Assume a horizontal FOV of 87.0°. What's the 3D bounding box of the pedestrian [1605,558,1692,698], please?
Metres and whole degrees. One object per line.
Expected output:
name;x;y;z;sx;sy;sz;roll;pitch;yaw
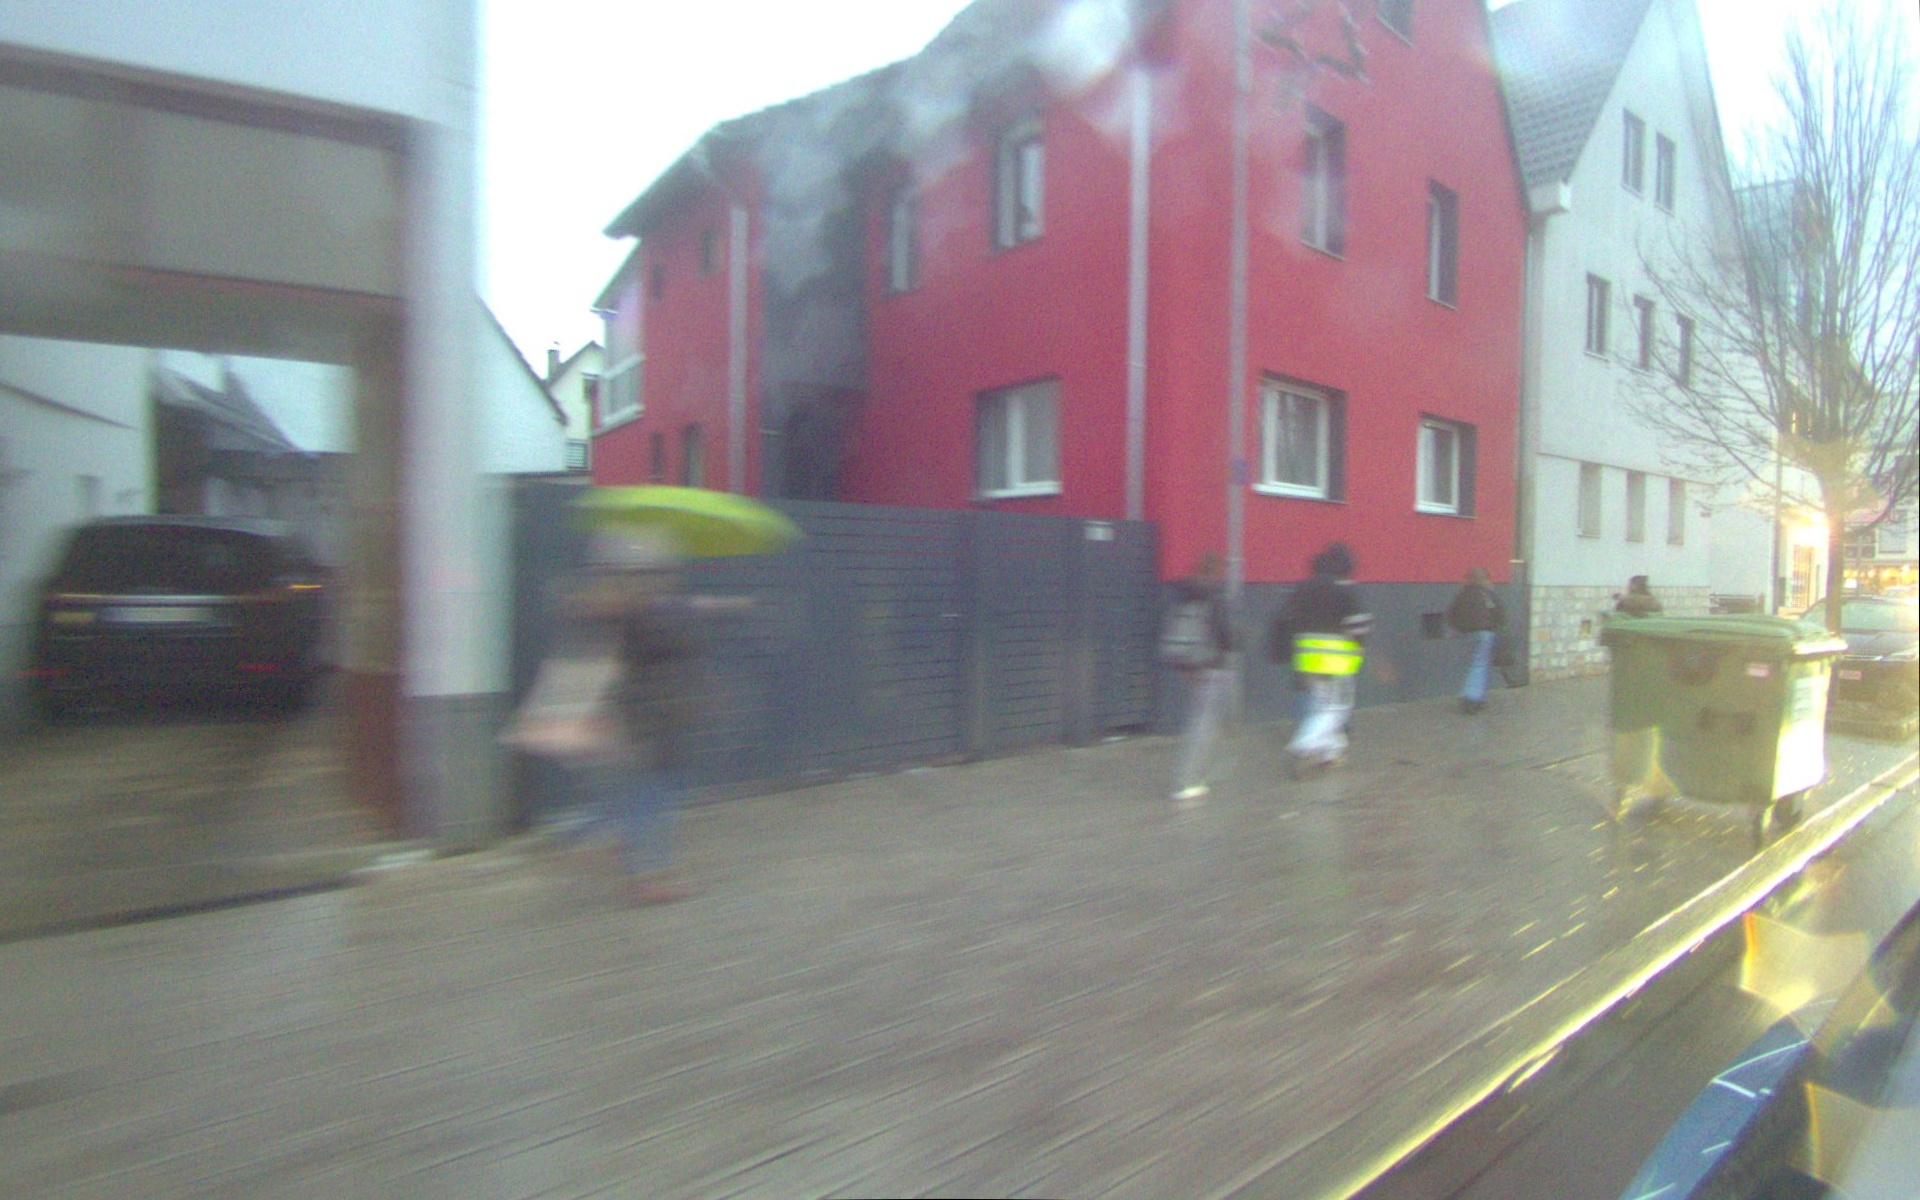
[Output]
pedestrian;8.652;0.326;12.709;0.935;1.673;0.531;-3;1;-31

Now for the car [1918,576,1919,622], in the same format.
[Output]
car;36.826;0.017;37.138;1.814;1.767;3.952;-1;2;34

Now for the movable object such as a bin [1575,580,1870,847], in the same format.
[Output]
movable object such as a bin;4.954;0.640;6.581;1.391;1.437;1.132;1;4;-38

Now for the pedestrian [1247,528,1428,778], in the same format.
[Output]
pedestrian;2.820;0.361;7.577;1.013;1.736;0.716;1;2;-27

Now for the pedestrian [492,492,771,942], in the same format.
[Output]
pedestrian;-1.354;0.425;4.248;0.616;1.647;0.894;1;0;36

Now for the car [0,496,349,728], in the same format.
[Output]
car;-6.828;0.021;9.195;1.850;1.613;4.007;1;2;-27

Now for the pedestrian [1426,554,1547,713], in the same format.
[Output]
pedestrian;5.942;0.349;11.421;1.032;1.699;0.750;1;2;-34

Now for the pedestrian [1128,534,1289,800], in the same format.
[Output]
pedestrian;1.669;0.411;6.768;1.000;1.650;0.481;1;2;-38

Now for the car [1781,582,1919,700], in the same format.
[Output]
car;14.003;0.546;15.167;4.122;1.482;1.733;0;4;-39

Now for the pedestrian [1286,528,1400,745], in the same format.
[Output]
pedestrian;3.396;0.305;8.980;0.847;1.823;0.531;0;0;-31
